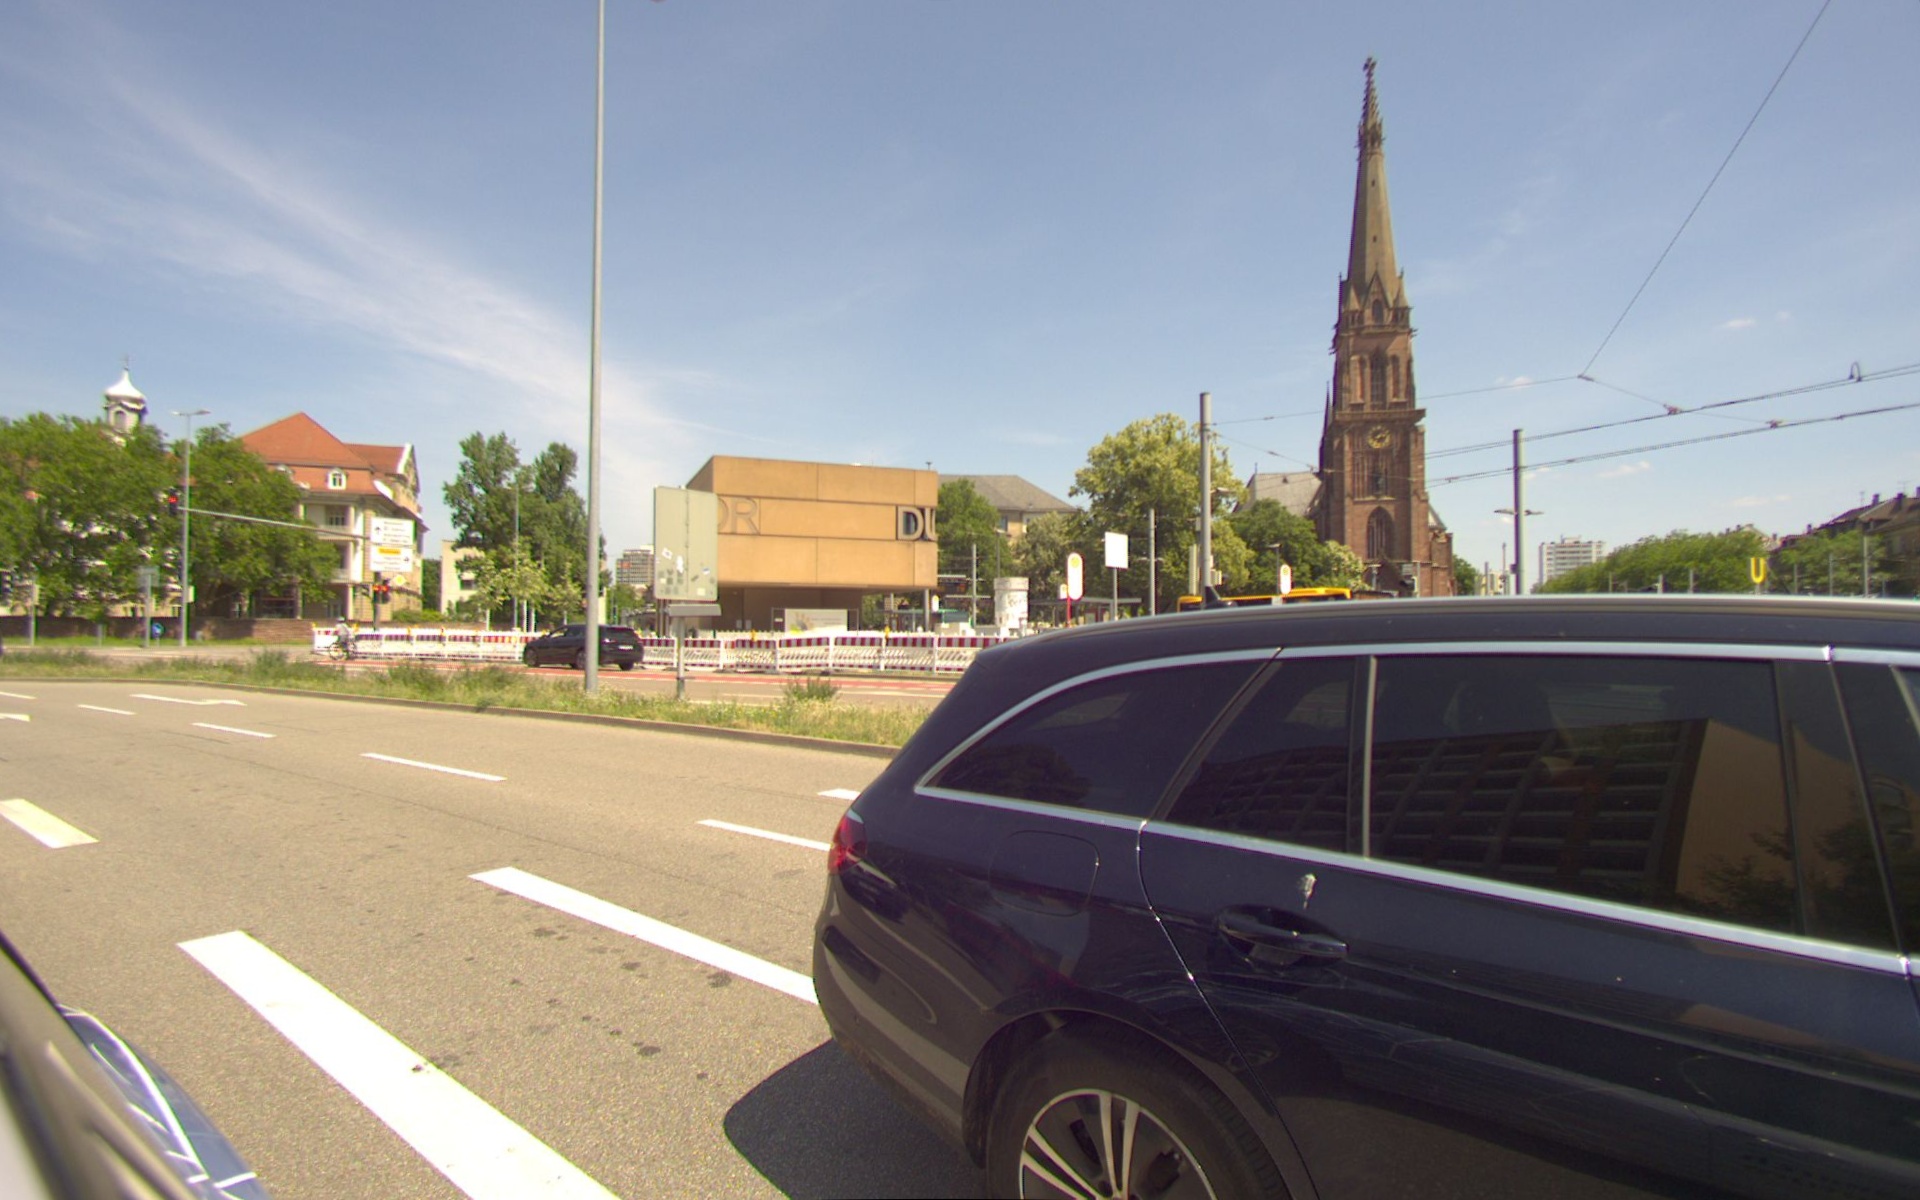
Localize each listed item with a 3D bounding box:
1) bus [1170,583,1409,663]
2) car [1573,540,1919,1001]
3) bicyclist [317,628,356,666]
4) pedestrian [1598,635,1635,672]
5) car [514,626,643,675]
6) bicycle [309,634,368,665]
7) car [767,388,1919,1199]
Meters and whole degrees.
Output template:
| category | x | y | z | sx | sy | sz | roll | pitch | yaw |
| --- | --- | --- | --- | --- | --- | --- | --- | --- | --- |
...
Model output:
| category | x | y | z | sx | sy | sz | roll | pitch | yaw |
| --- | --- | --- | --- | --- | --- | --- | --- | --- | --- |
| bus | 14.039 | 1.090 | 45.017 | 2.807 | 3.039 | 12.259 | 1 | -2 | -22 |
| car | 4.507 | 0.587 | 3.580 | 3.736 | 1.588 | 1.725 | -2 | -3 | 42 |
| bicyclist | -23.368 | 1.747 | 37.931 | 1.432 | 1.366 | 0.581 | -1 | 0 | 26 |
| pedestrian | 24.176 | 1.968 | 37.266 | 0.518 | 1.344 | 1.001 | 1 | -2 | -17 |
| car | -12.409 | 1.597 | 32.736 | 4.846 | 1.476 | 1.972 | -2 | -3 | 43 |
| bicycle | -23.306 | 1.852 | 37.942 | 2.220 | 1.080 | 0.871 | -1 | 0 | 26 |
| car | 1.914 | 0.587 | 1.493 | 4.803 | 1.653 | 1.778 | -2 | -1 | 42 |
